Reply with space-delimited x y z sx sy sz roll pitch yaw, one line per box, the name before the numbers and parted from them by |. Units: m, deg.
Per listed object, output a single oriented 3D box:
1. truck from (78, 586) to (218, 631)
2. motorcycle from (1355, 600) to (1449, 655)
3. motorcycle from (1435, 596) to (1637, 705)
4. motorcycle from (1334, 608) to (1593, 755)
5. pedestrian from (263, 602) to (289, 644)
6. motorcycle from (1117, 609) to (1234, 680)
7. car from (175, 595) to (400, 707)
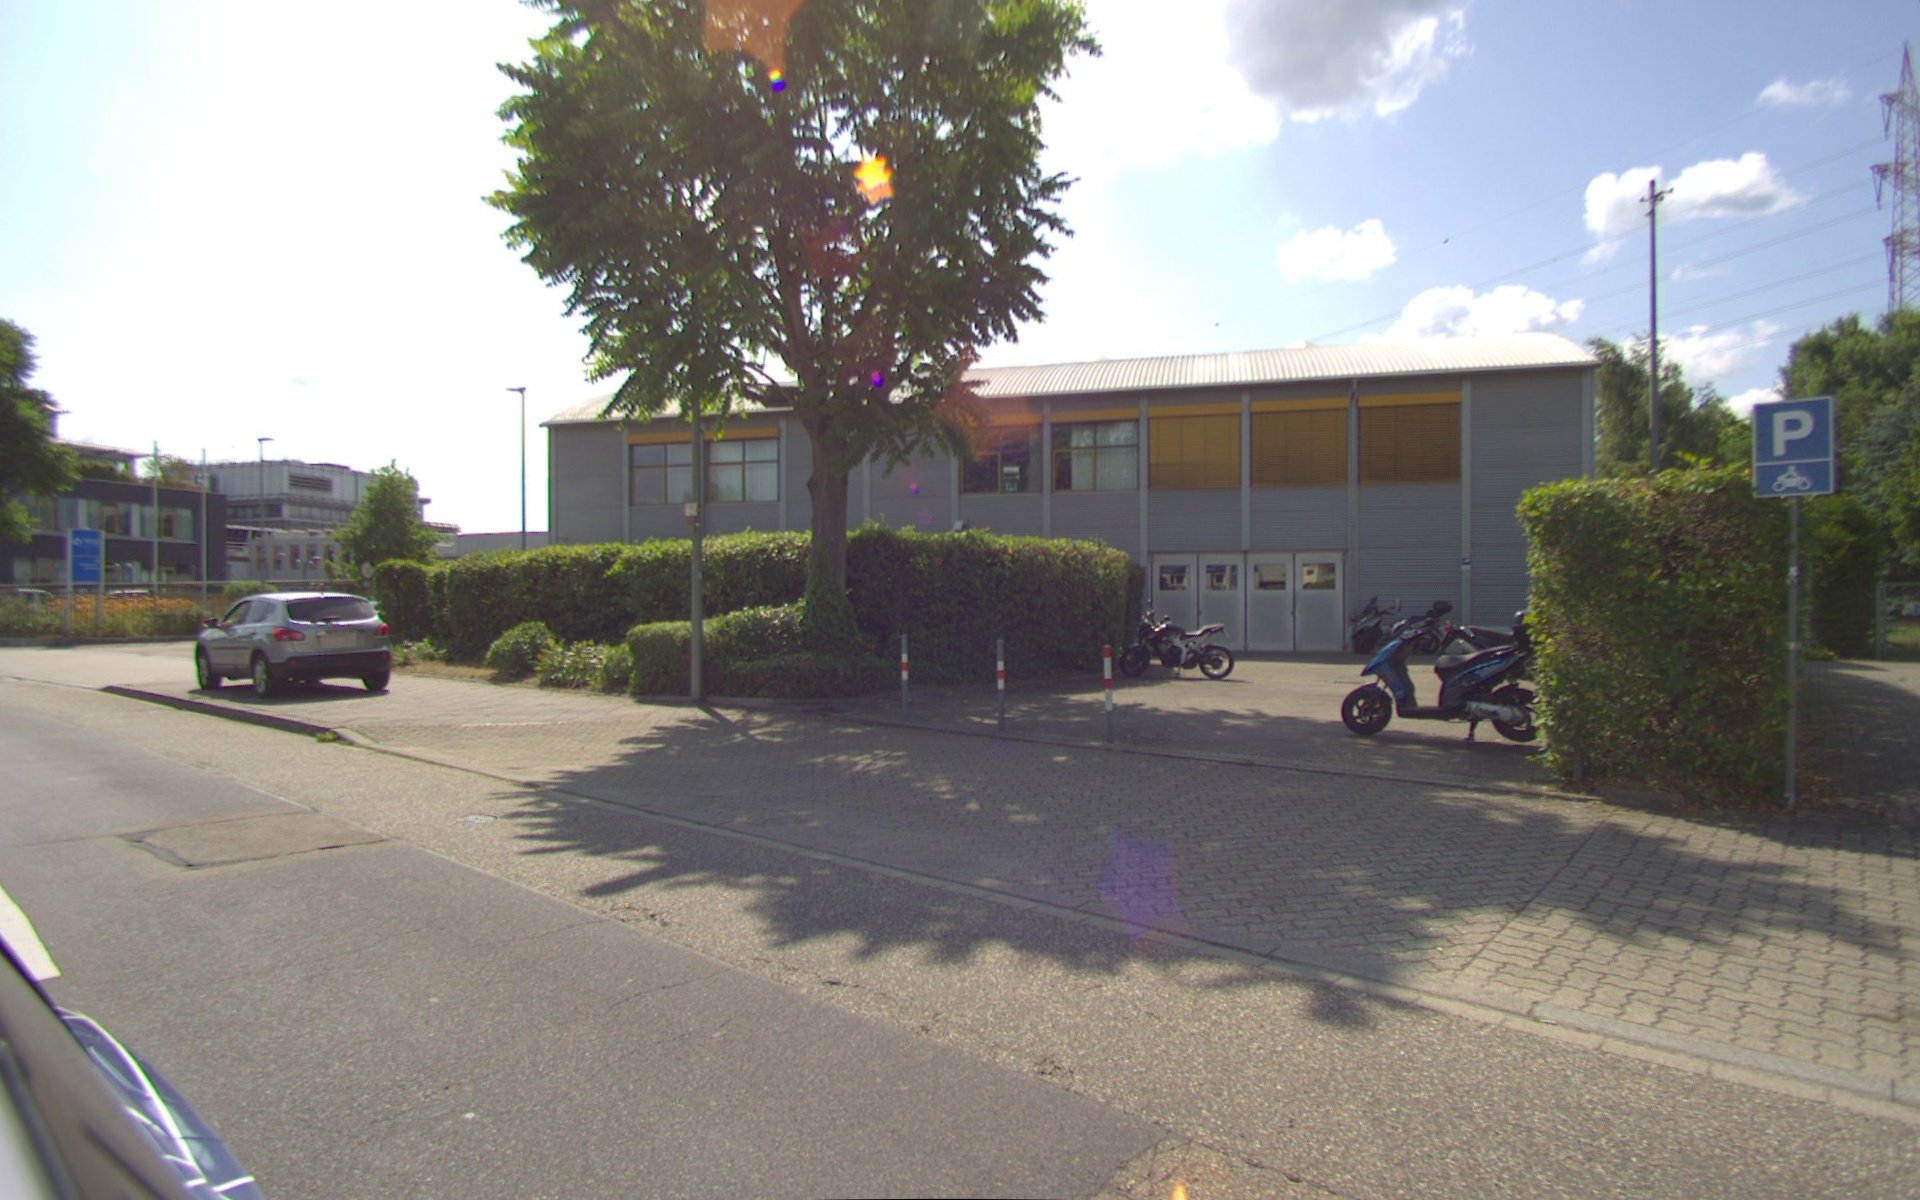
truck | -51.402 0.547 64.333 2.382 2.678 6.902 -1 0 14
motorcycle | 11.065 0.686 25.412 2.082 1.336 0.531 0 -1 15
motorcycle | 7.656 0.642 13.544 2.295 1.360 0.527 -1 -1 40
motorcycle | 4.603 0.693 9.372 2.084 1.229 0.527 -1 -1 40
pedestrian | -28.767 0.967 42.570 0.727 1.704 0.547 3 1 14
motorcycle | 3.808 0.771 17.885 1.987 1.211 0.531 0 -1 15
car | -11.106 0.737 16.598 4.470 1.586 1.741 0 1 38
